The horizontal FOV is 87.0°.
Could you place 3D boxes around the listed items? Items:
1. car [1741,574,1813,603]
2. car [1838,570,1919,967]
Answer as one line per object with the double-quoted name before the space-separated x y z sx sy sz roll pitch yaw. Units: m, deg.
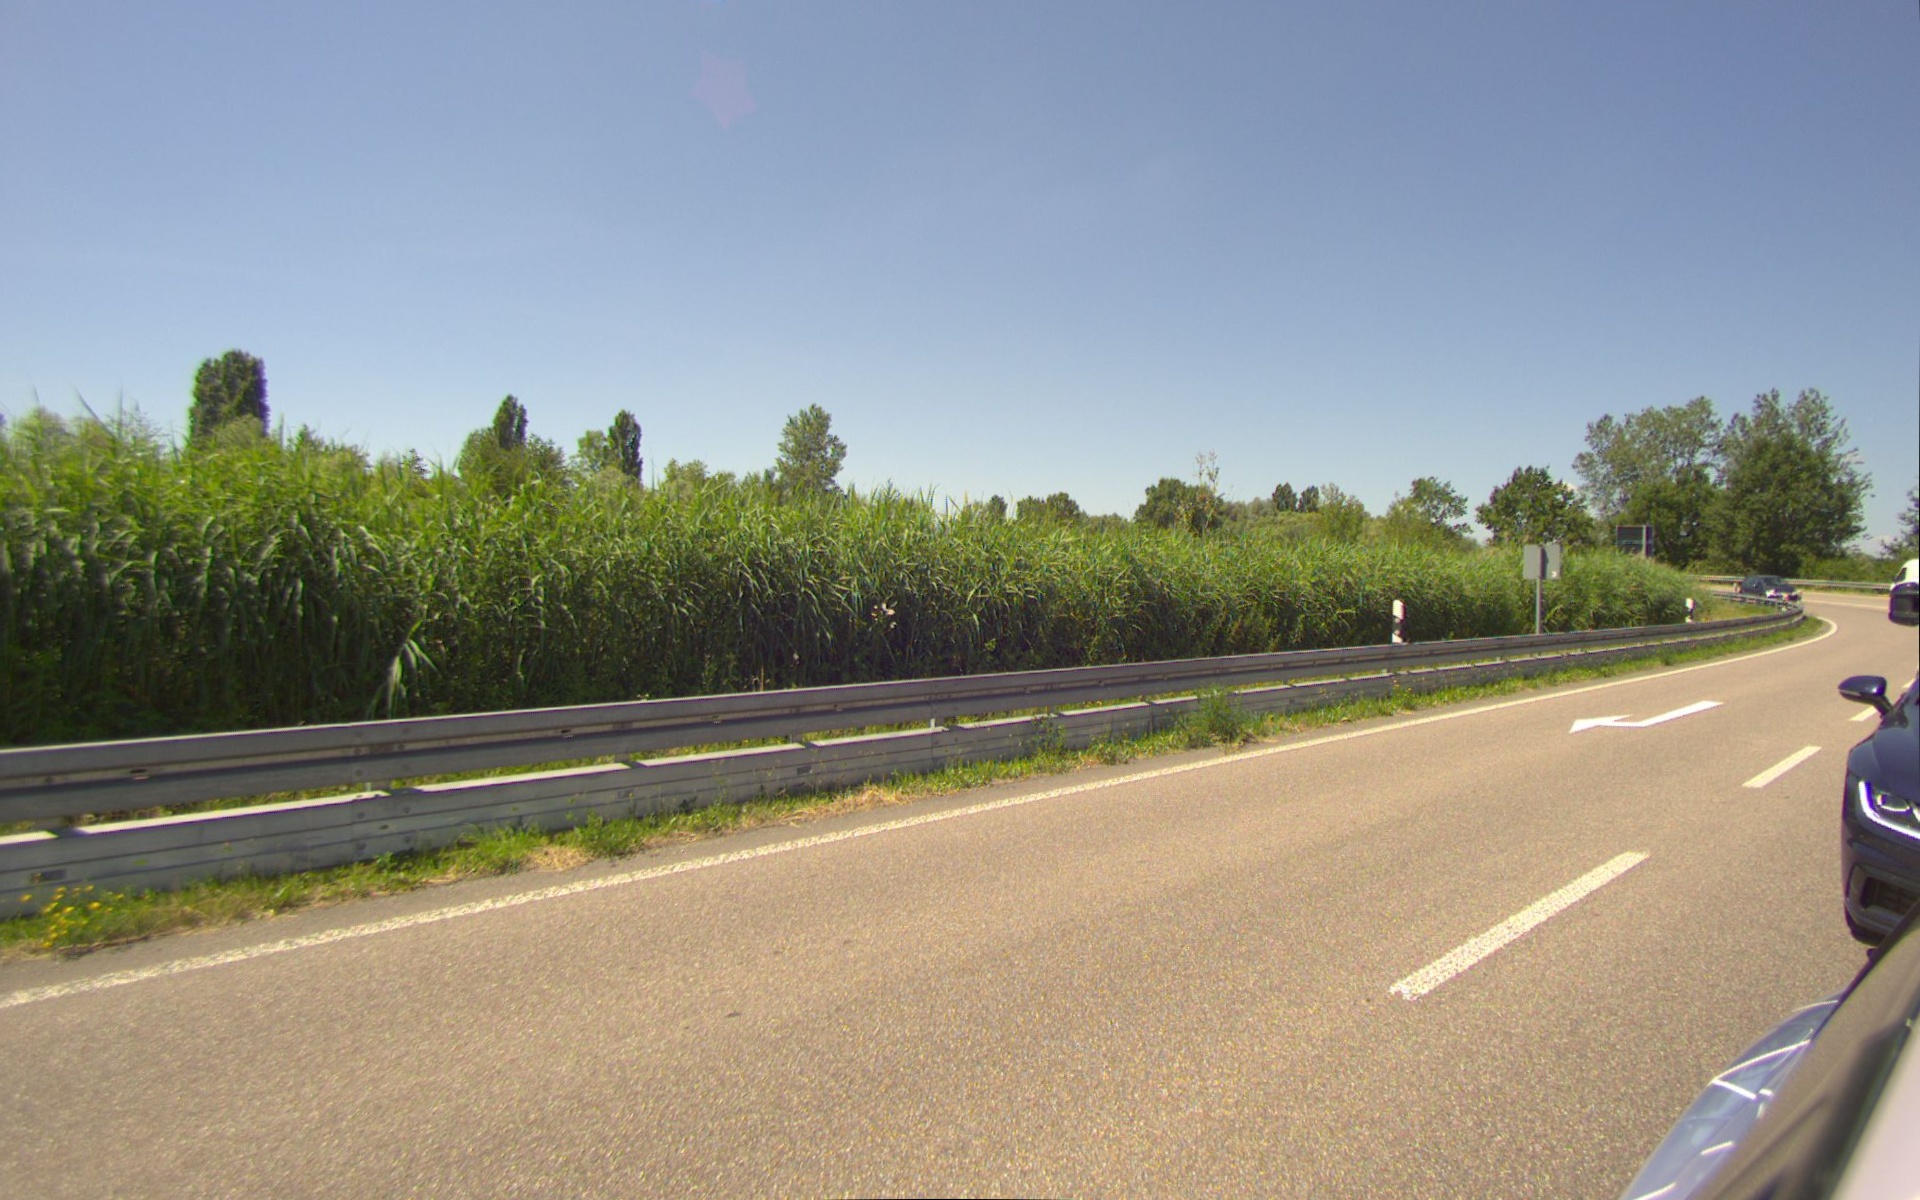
"car" 46.514 -0.677 57.679 1.647 1.620 3.543 0 1 10
"car" 5.654 0.617 4.682 4.338 1.481 1.818 -1 1 -41
